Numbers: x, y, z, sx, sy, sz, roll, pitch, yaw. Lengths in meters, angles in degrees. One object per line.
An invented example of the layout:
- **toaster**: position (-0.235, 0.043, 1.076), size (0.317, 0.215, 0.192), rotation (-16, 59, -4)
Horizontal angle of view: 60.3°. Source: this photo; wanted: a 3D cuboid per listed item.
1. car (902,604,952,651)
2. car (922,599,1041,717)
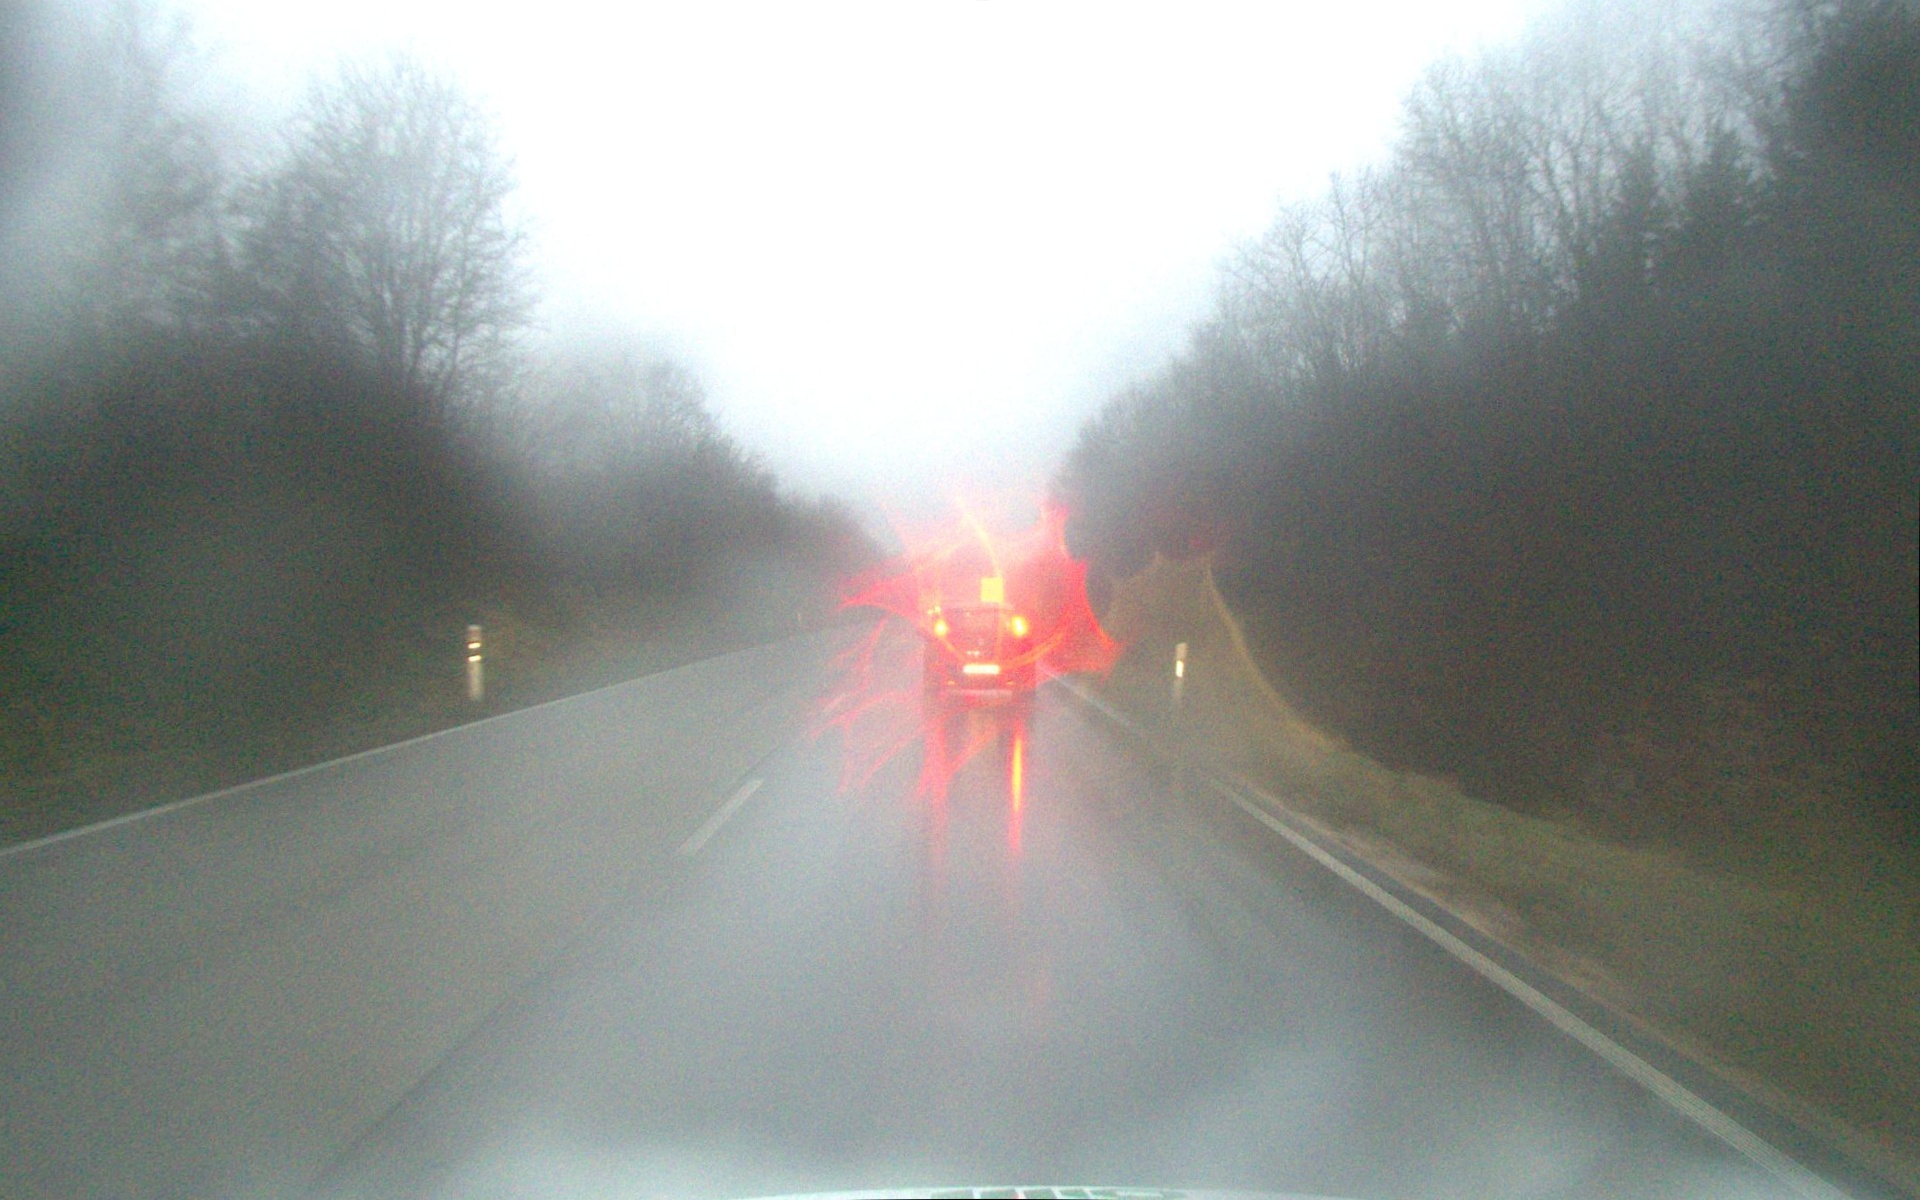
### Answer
- **car**: position (-1.190, 0.992, 61.076), size (1.692, 1.672, 4.000), rotation (1, 0, 1)
- **car**: position (0.325, 0.839, 25.676), size (1.692, 1.672, 4.000), rotation (1, 0, 1)
